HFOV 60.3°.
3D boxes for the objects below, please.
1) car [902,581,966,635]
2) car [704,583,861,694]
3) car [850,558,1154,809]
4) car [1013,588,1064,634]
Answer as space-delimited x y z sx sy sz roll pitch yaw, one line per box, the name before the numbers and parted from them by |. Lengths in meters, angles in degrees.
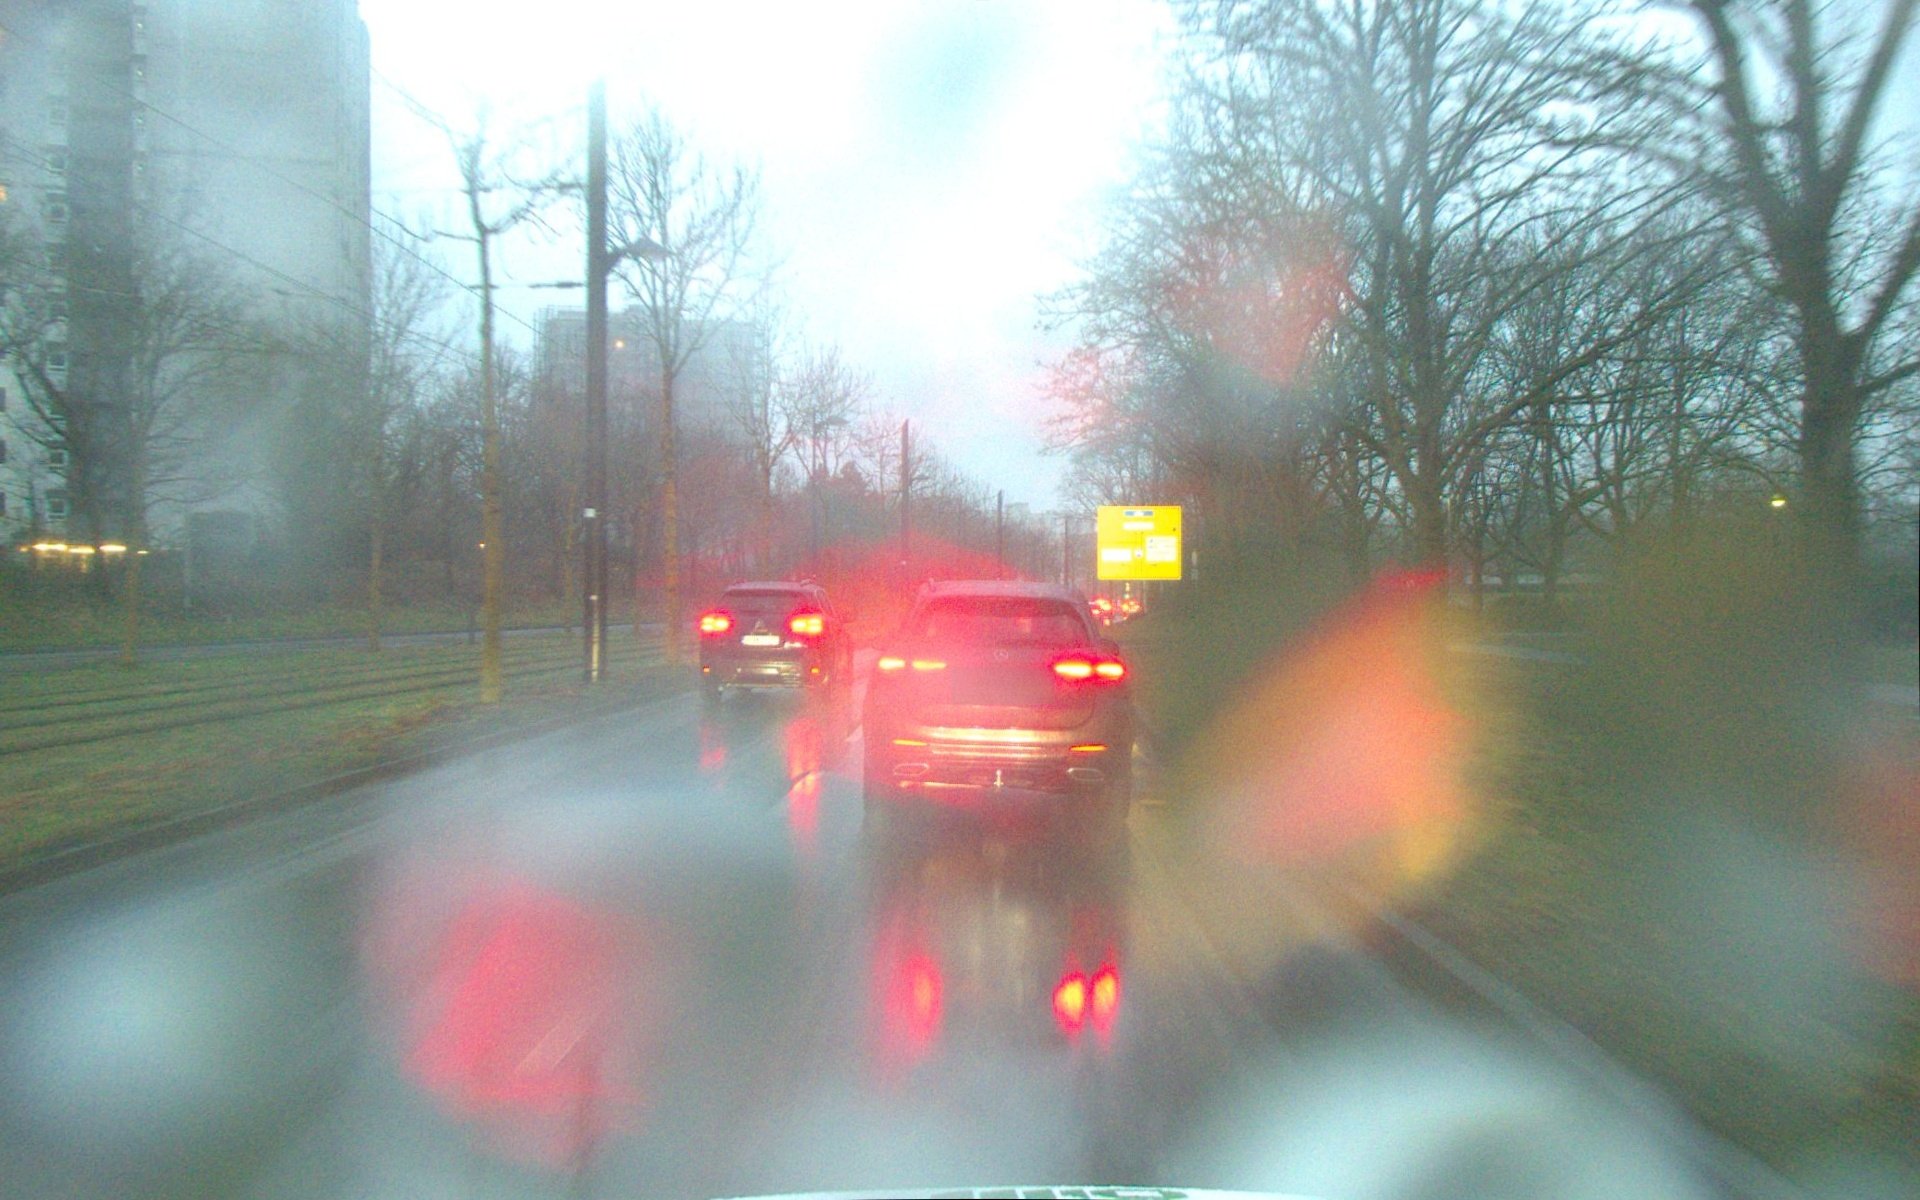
car | -0.842 0.220 50.980 1.842 1.621 3.998 0 0 -3
car | -2.507 0.502 24.240 1.841 1.485 4.000 0 0 0
car | 0.244 0.530 12.765 1.957 1.612 3.999 1 0 -1
car | 2.776 0.396 59.252 1.673 1.585 3.996 0 0 1
